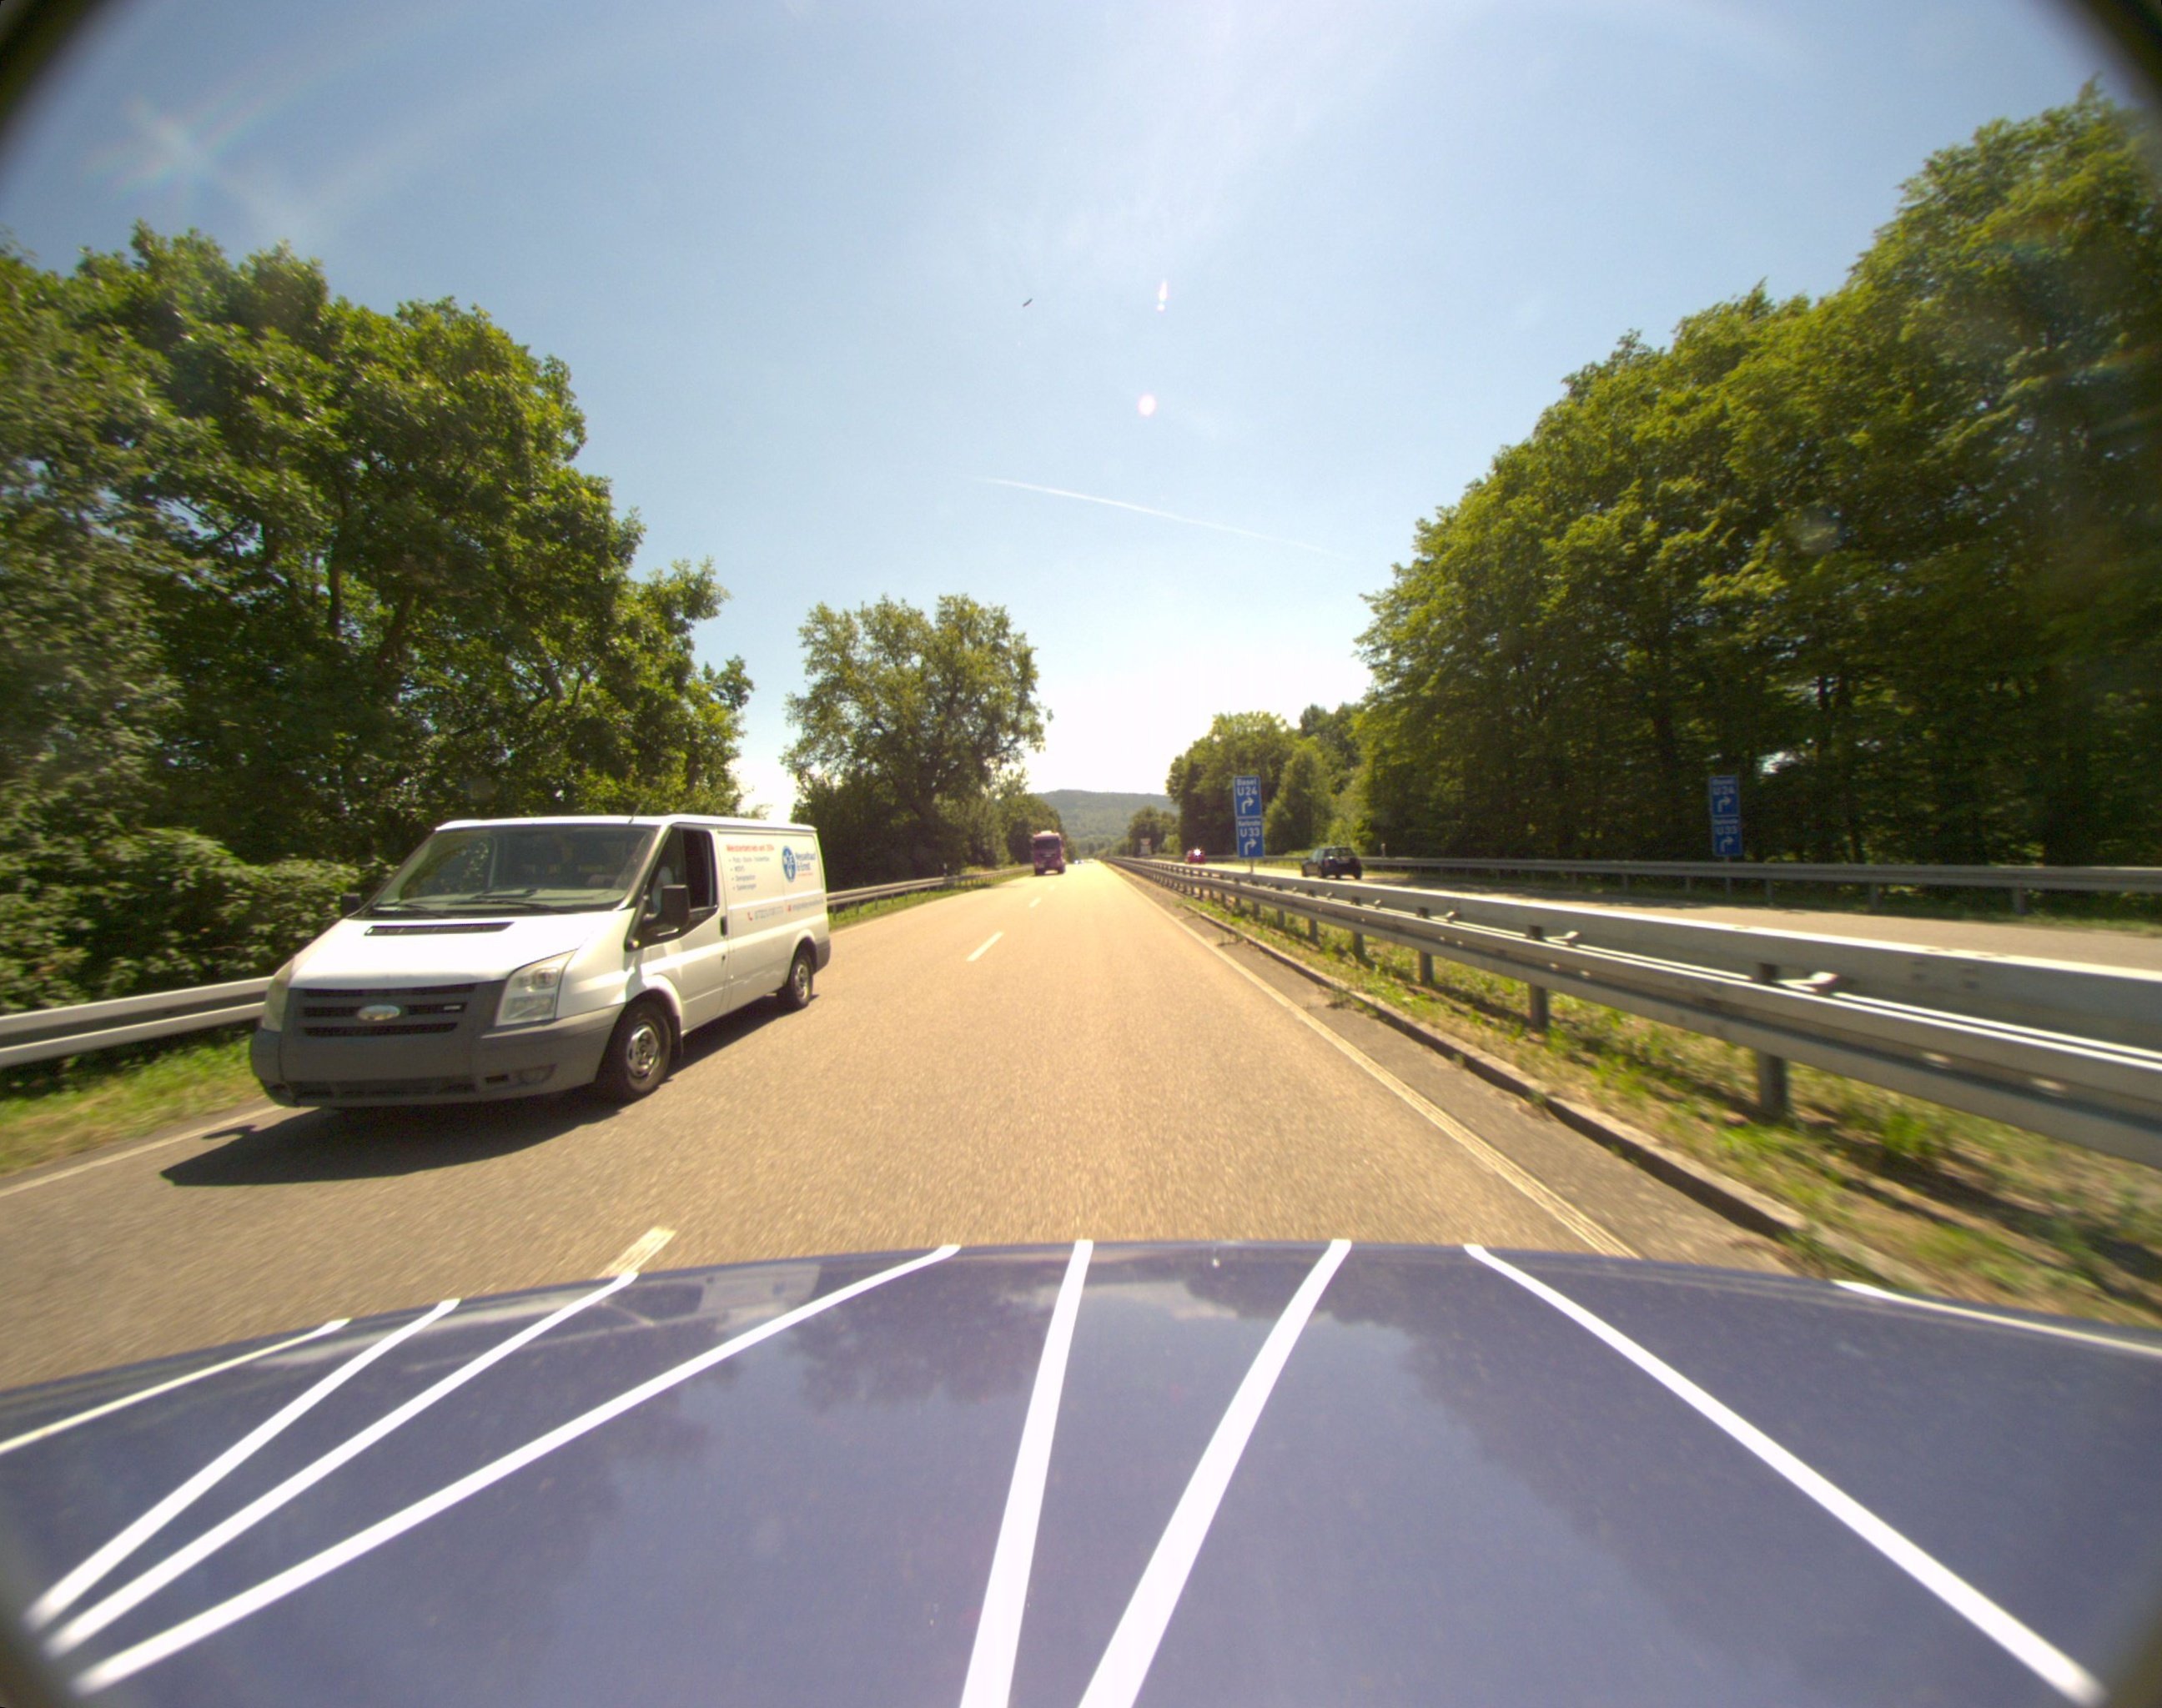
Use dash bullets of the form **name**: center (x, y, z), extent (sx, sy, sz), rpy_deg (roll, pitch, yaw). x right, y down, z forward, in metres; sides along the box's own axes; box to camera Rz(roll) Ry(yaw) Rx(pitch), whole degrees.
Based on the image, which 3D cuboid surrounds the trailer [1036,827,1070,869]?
- **trailer**: center (-2.579, -0.499, 72.598), extent (2.605, 3.607, 8.615), rpy_deg (-5, -1, 0)

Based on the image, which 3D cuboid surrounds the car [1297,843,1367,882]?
- **car**: center (10.661, 0.337, 32.546), extent (1.802, 1.459, 3.773), rpy_deg (-3, 0, 2)

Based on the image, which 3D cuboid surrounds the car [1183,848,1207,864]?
- **car**: center (11.370, 0.147, 75.742), extent (1.780, 1.411, 4.575), rpy_deg (-3, 1, 2)

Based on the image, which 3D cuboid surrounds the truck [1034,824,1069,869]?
- **truck**: center (-2.582, -0.567, 67.976), extent (2.605, 3.669, 5.939), rpy_deg (-5, -1, 0)

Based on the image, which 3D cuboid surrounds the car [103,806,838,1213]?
- **car**: center (-3.861, 0.759, 6.341), extent (2.011, 1.977, 5.033), rpy_deg (-2, 1, -1)
